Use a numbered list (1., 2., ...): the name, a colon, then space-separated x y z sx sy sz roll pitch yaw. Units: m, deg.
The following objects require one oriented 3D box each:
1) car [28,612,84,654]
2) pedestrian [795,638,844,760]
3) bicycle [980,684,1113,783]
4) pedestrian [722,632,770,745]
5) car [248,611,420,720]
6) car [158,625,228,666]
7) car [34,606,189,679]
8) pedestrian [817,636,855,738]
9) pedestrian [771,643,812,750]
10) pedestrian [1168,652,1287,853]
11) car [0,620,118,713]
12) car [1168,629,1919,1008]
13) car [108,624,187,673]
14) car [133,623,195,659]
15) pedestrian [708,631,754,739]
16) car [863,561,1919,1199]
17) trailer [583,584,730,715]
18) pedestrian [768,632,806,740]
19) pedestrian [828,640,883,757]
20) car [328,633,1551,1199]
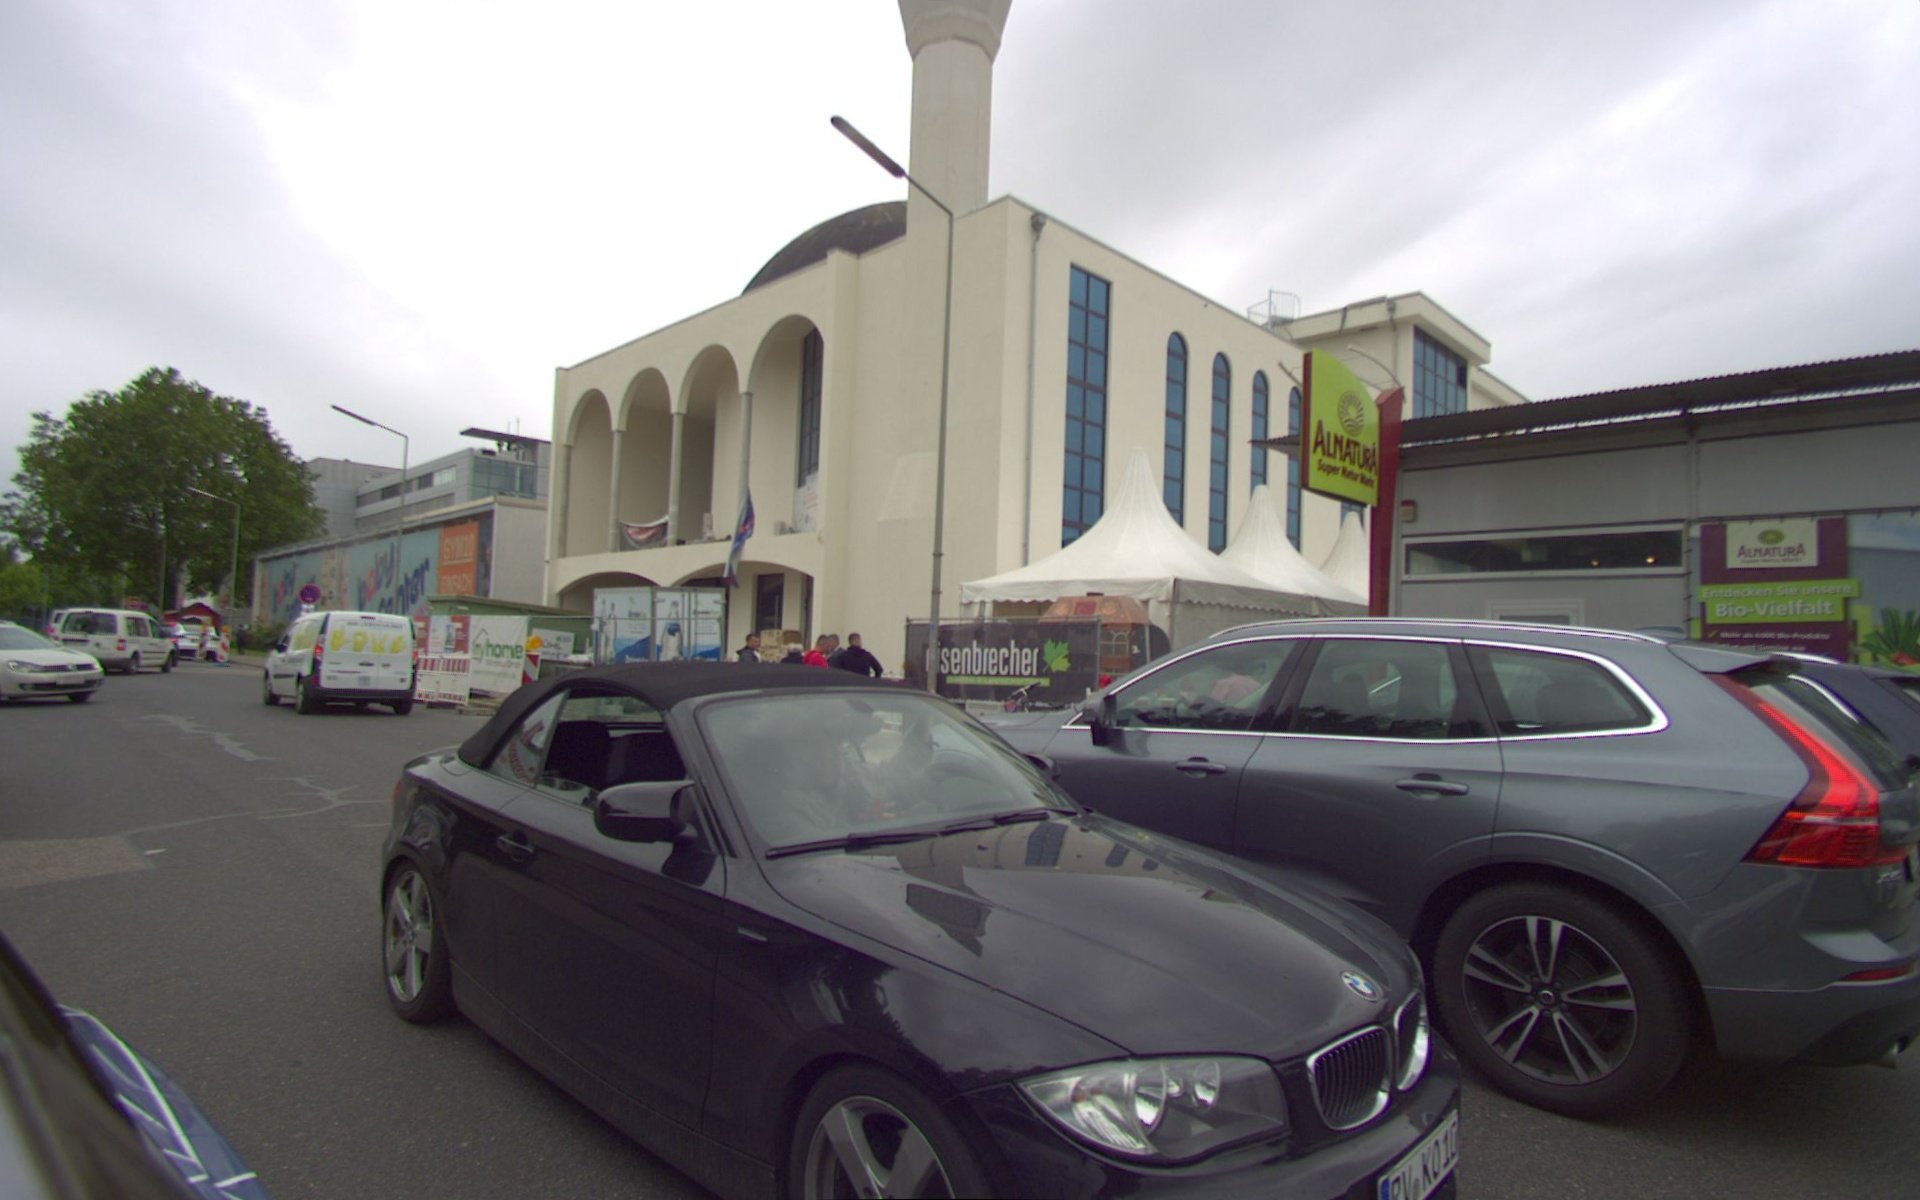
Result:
1. car: -47.458 1.686 53.116 1.904 2.029 4.959 5 -4 -44
2. pedestrian: -2.020 1.416 14.598 0.509 1.706 0.530 -2 -3 14
3. bicycle: 1.094 1.700 13.190 0.537 1.086 1.905 4 -3 -38
4. pedestrian: -3.437 1.404 16.268 0.681 1.763 0.491 -1 -3 -6
5. car: -11.571 1.153 18.594 4.136 1.774 1.670 -1 -5 45
6. car: -34.245 2.021 45.140 1.902 1.586 4.153 9 -7 -43
7. car: -23.945 1.212 28.791 1.770 1.821 4.397 4 -3 -18
8. pedestrian: -2.022 1.405 16.582 0.485 1.624 0.540 1 -2 5
9. pedestrian: -2.635 1.495 15.856 0.563 1.624 0.491 -1 -3 -6
10. pedestrian: 2.323 1.305 8.818 0.664 1.634 0.655 7 -6 -19
11. car: -17.238 1.114 18.067 4.273 1.462 1.744 0 -1 25
12. car: 3.894 1.141 6.515 1.844 1.704 4.733 10 -8 -43
13. car: -29.045 1.704 36.134 1.709 1.583 3.949 7 -6 -44
14. car: -40.233 2.054 51.107 1.902 1.586 4.153 9 -7 -43
15. pedestrian: -3.860 1.417 17.060 0.681 1.763 0.491 -1 -3 -6
16. car: 1.719 0.851 4.851 1.910 1.697 4.499 6 -5 -43
17. trailer: -6.655 1.088 22.080 1.776 2.626 3.195 5 -5 -41
18. pedestrian: -2.904 1.435 17.005 0.521 1.763 0.490 -2 -3 2
19. pedestrian: -1.614 1.490 15.547 0.675 1.731 0.698 -1 -3 -18
20. car: -0.536 0.865 3.455 4.138 1.369 1.726 0 -3 44
